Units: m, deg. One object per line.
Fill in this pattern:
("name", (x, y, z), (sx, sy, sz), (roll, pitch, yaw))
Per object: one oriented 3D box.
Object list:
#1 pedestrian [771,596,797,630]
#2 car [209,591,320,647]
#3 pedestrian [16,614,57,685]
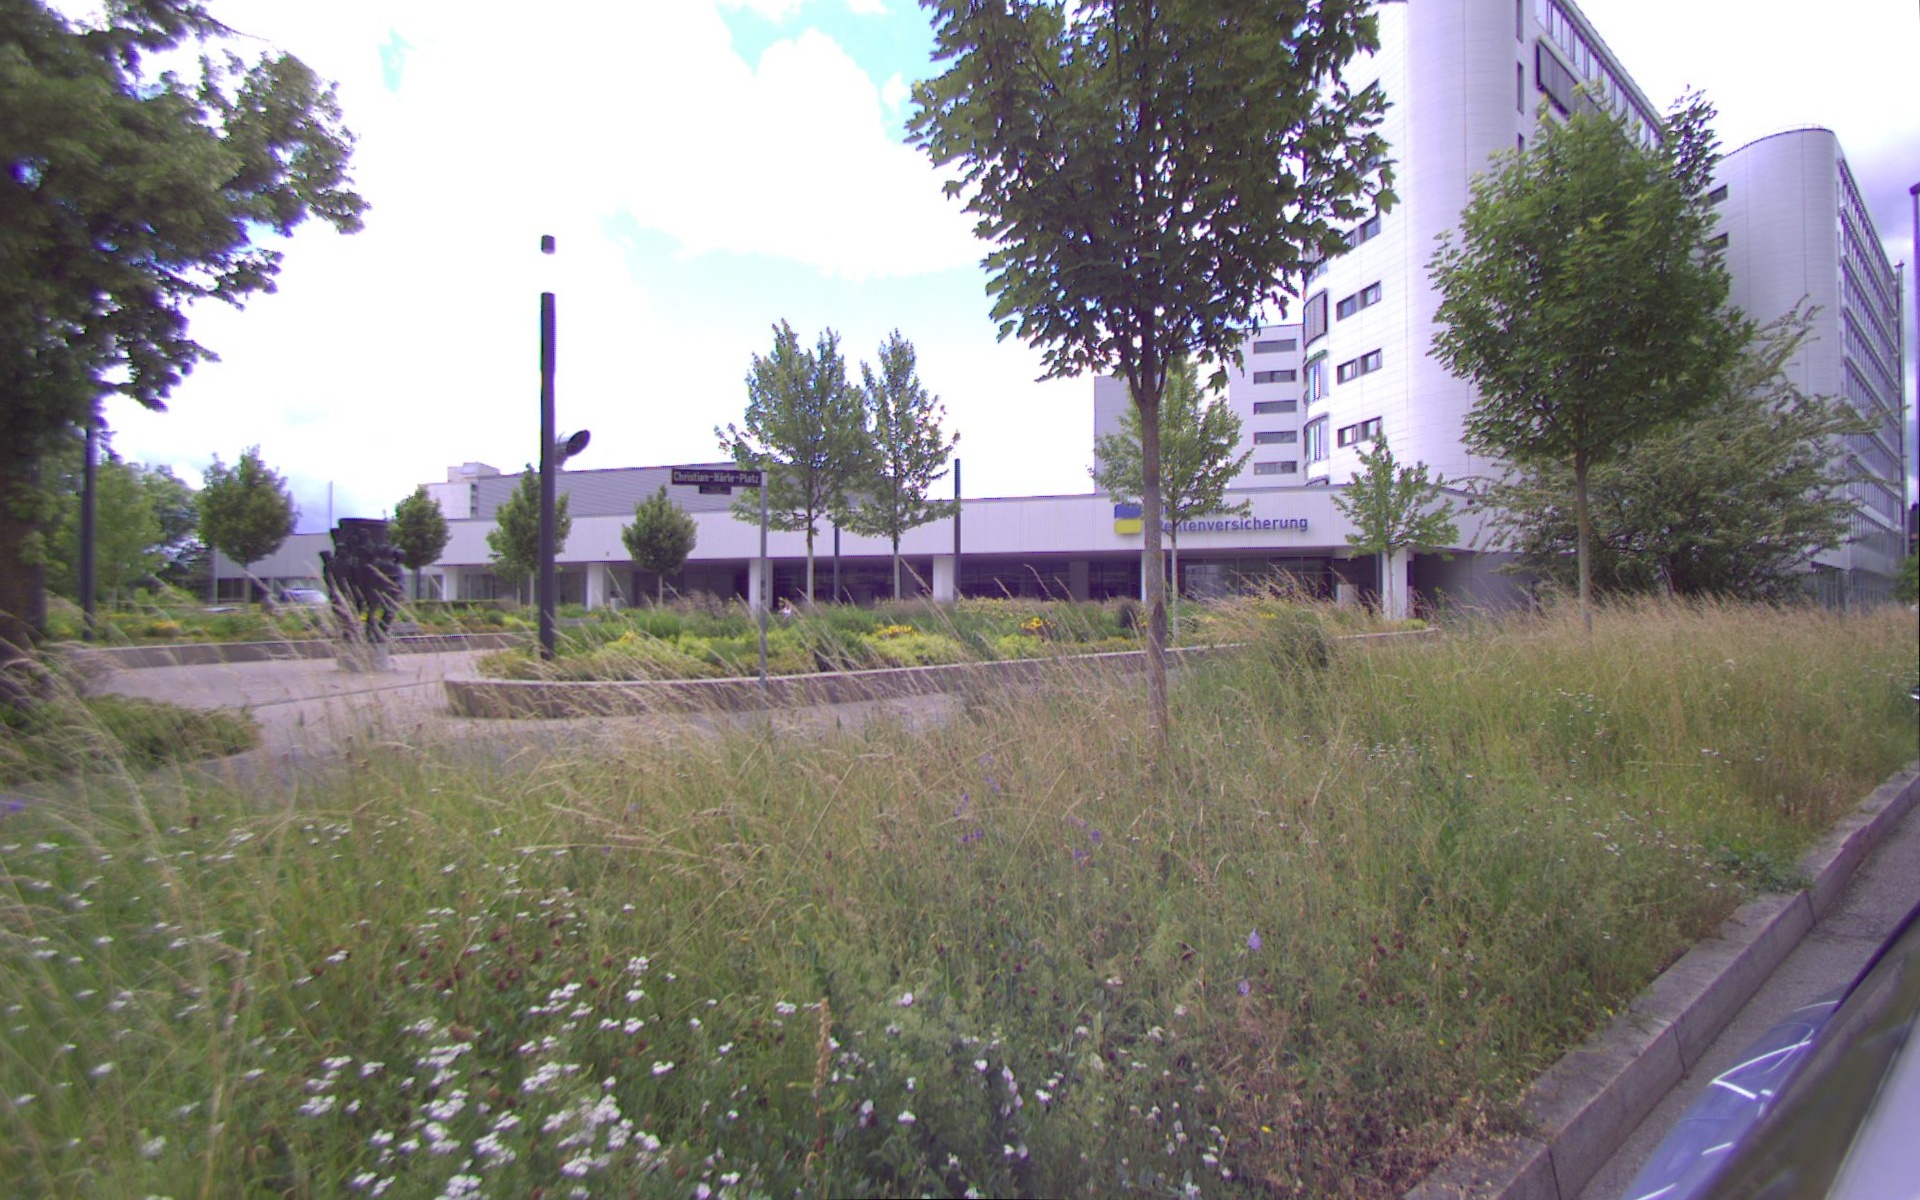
("pedestrian", (-6.752, 0.503, 38.884), (0.869, 1.290, 0.704), (1, 0, 3))
("car", (-23.195, 0.595, 33.723), (3.470, 1.788, 1.622), (0, 0, 27))
("pedestrian", (-17.202, 0.908, 18.850), (0.560, 1.278, 0.581), (0, 0, -43))
